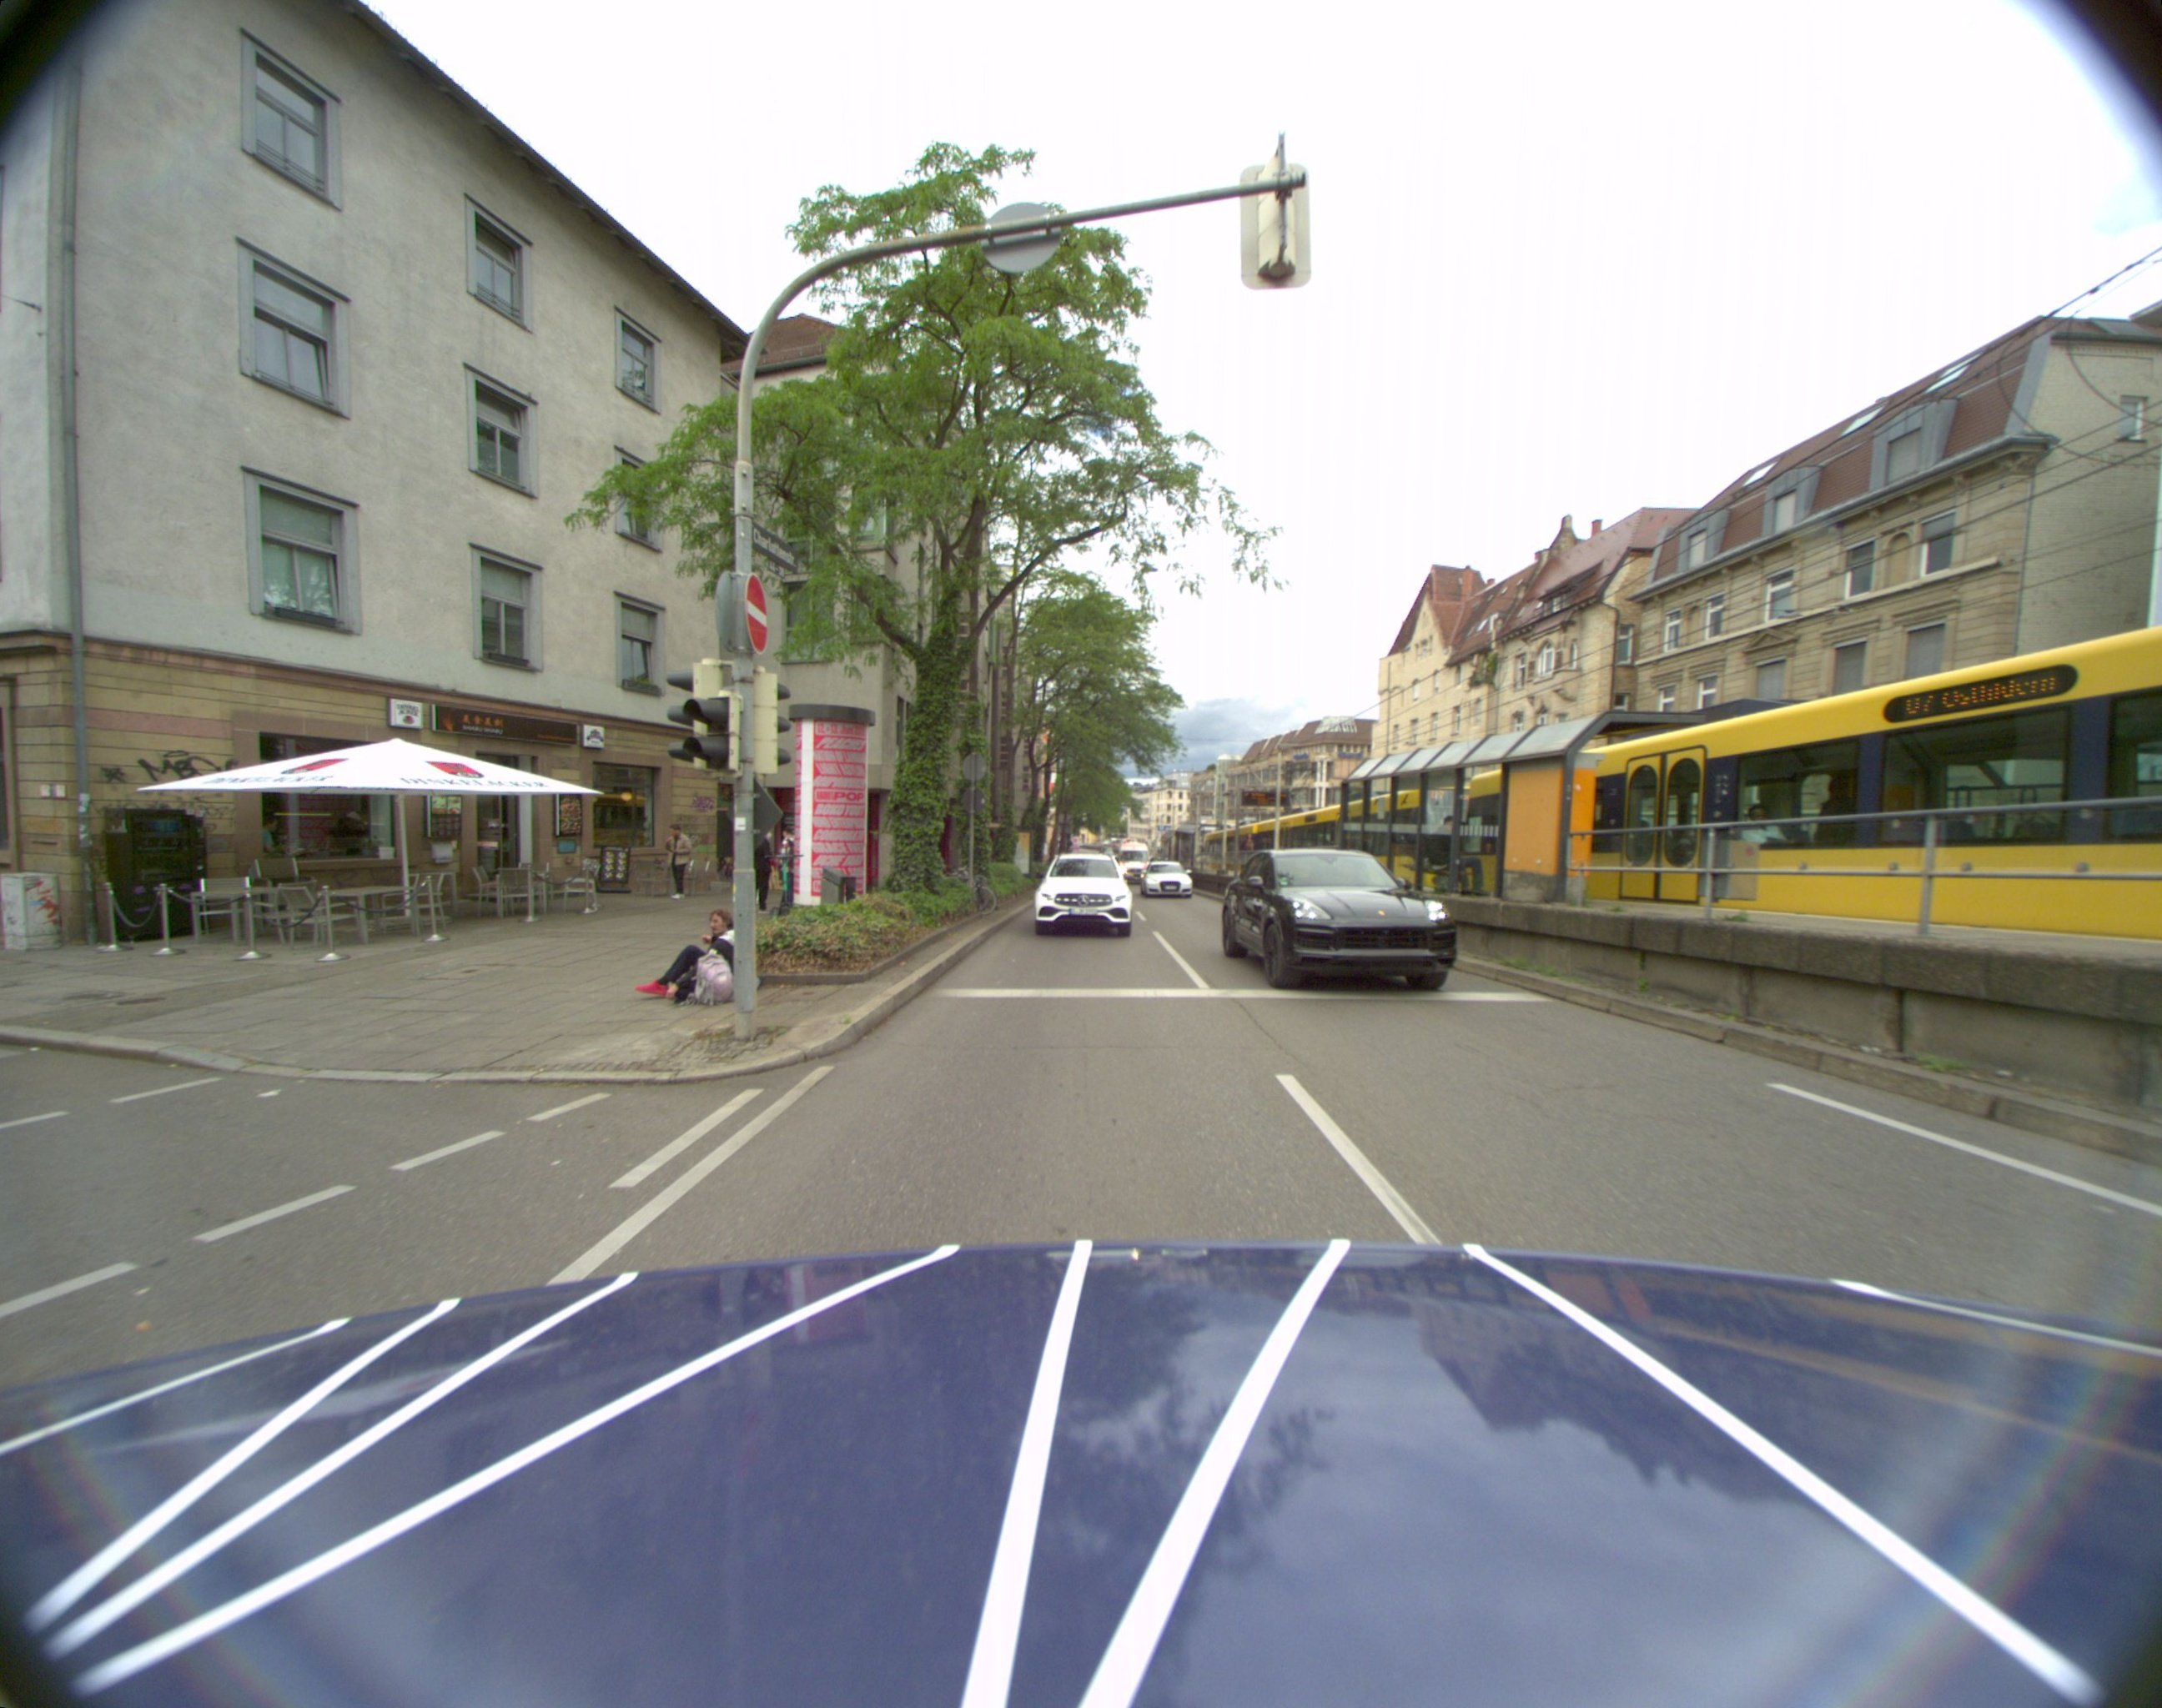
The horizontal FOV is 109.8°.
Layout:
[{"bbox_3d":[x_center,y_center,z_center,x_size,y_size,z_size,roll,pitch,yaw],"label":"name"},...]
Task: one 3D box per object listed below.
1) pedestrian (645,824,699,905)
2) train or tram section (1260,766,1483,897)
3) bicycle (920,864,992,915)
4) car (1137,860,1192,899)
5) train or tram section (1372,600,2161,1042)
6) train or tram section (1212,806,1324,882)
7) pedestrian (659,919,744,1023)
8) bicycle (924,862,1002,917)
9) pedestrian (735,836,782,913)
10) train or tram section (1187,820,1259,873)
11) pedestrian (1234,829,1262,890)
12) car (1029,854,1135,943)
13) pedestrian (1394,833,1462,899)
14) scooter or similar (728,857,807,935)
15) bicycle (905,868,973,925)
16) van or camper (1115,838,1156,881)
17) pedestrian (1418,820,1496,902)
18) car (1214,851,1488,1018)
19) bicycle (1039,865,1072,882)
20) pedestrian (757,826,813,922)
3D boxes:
[{"bbox_3d":[-9.551,0.241,17.759,0.901,1.823,0.737,0,0,29],"label":"pedestrian"},{"bbox_3d":[9.544,-0.596,27.665,2.930,3.537,14.231,0,0,1],"label":"train or tram section"},{"bbox_3d":[-3.071,0.863,18.743,1.692,1.214,0.542,1,0,-3],"label":"bicycle"},{"bbox_3d":[3.423,1.012,31.818,1.897,1.466,4.532,1,0,1],"label":"car"},{"bbox_3d":[9.461,0.018,13.483,2.889,3.641,14.234,4,-2,0],"label":"train or tram section"},{"bbox_3d":[9.793,-0.427,41.855,2.888,3.421,14.231,-1,0,1],"label":"train or tram section"},{"bbox_3d":[-3.692,1.123,7.430,0.485,0.905,0.583,0,3,4],"label":"pedestrian"},{"bbox_3d":[-2.793,0.836,18.019,1.745,1.214,0.542,2,0,-3],"label":"bicycle"},{"bbox_3d":[-6.477,0.409,15.280,0.624,1.514,0.664,0,0,7],"label":"pedestrian"},{"bbox_3d":[10.120,-0.444,56.040,2.888,3.399,14.231,-1,0,1],"label":"train or tram section"},{"bbox_3d":[6.364,0.219,29.048,0.838,2.271,0.772,2,0,1],"label":"pedestrian"},{"bbox_3d":[0.076,0.838,16.423,1.934,1.622,4.774,1,0,1],"label":"car"},{"bbox_3d":[6.366,0.212,13.977,0.852,1.136,0.778,3,0,2],"label":"pedestrian"},{"bbox_3d":[-5.515,0.710,13.350,1.387,1.247,0.632,3,2,36],"label":"scooter or similar"},{"bbox_3d":[-3.149,0.936,16.911,1.424,1.214,0.542,-1,0,-3],"label":"bicycle"},{"bbox_3d":[3.410,0.327,48.684,2.208,2.543,6.374,0,0,1],"label":"van or camper"},{"bbox_3d":[6.234,0.112,12.642,0.852,1.298,0.778,3,0,2],"label":"pedestrian"},{"bbox_3d":[3.160,0.830,10.119,2.032,1.675,4.782,1,0,1],"label":"car"},{"bbox_3d":[-1.676,1.303,50.136,2.093,1.079,0.712,-1,0,-6],"label":"bicycle"},{"bbox_3d":[-5.950,0.388,15.321,0.706,1.878,0.880,0,0,7],"label":"pedestrian"}]
